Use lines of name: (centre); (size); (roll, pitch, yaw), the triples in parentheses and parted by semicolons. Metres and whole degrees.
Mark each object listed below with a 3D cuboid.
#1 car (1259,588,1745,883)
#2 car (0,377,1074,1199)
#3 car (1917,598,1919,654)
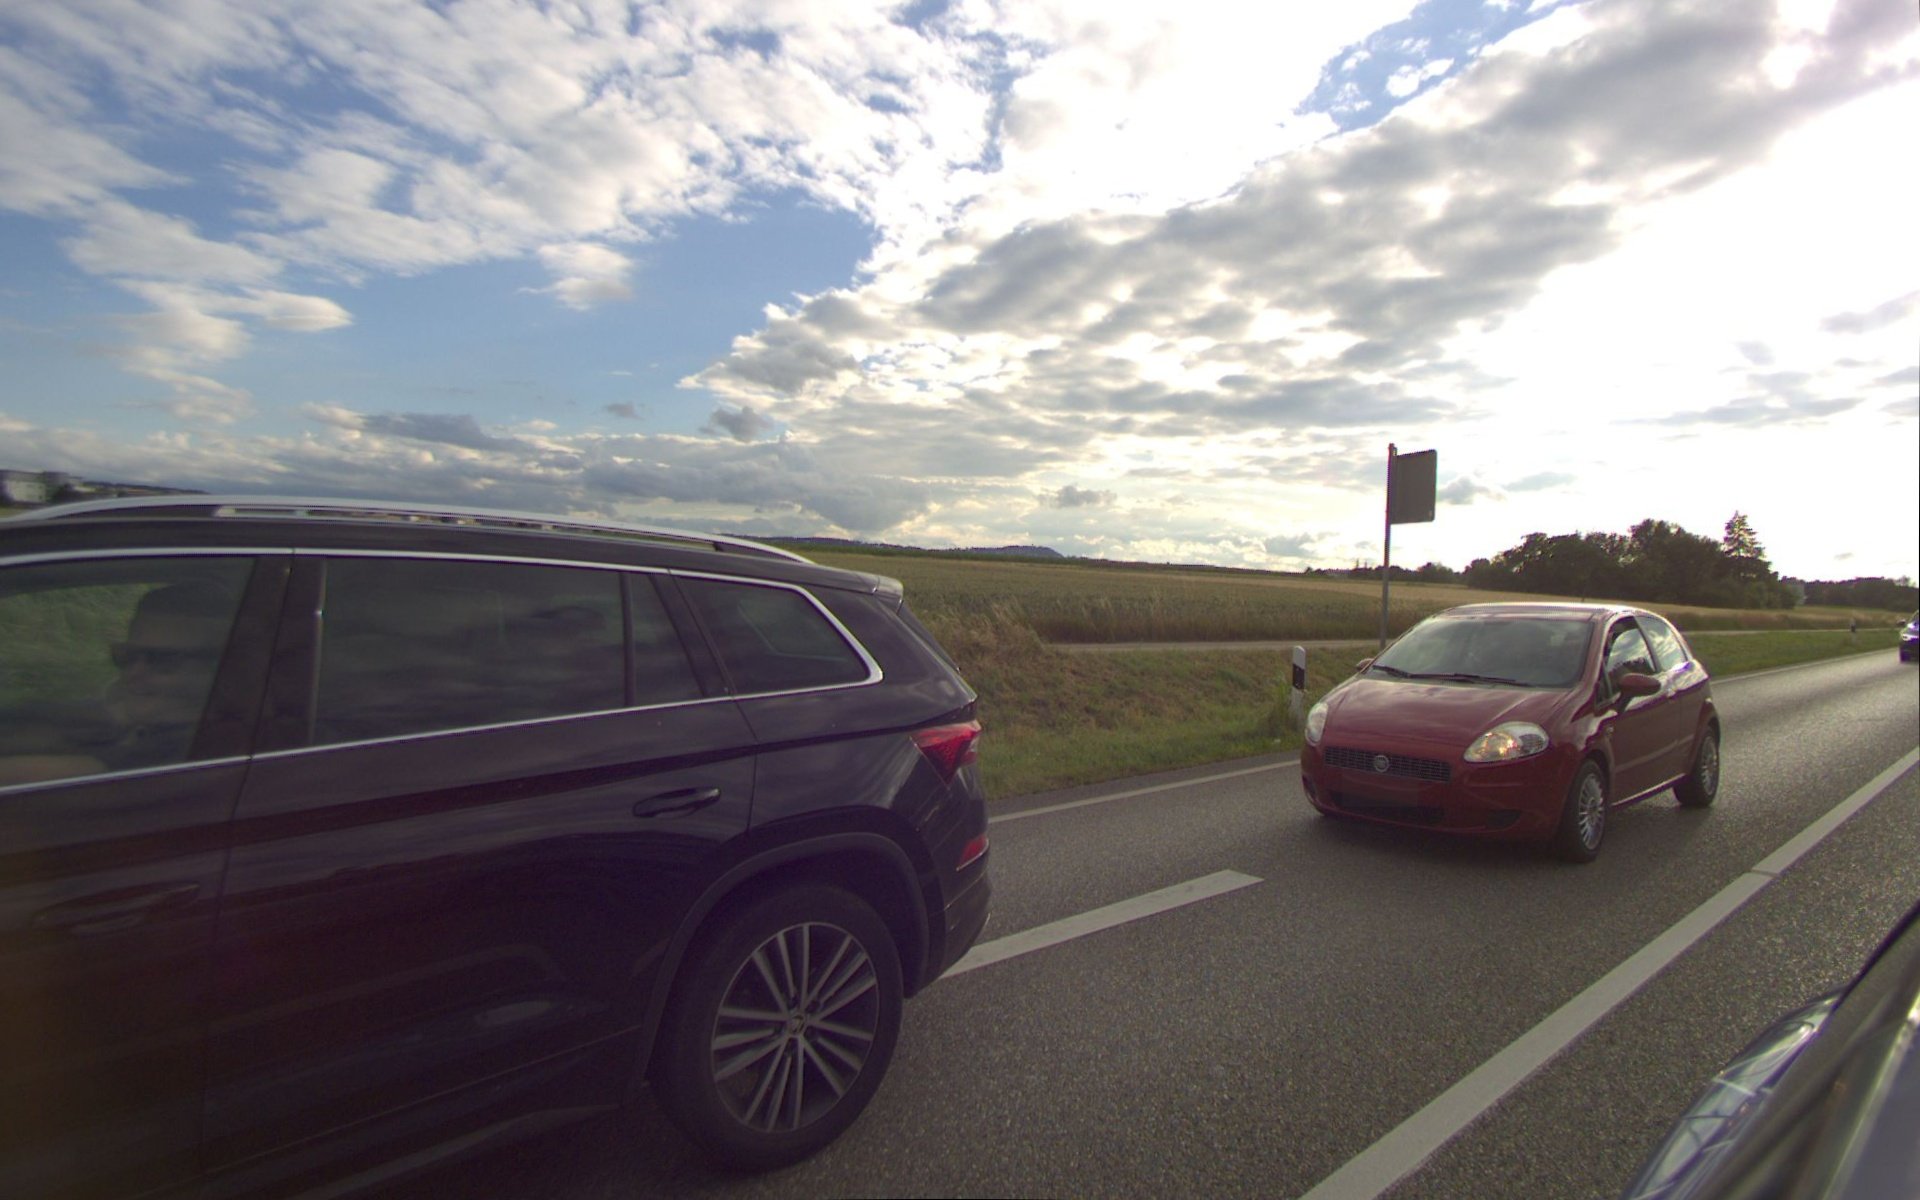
car: (3.899, 0.666, 7.015); (3.840, 1.475, 1.710); (-1, 0, -41)
car: (-1.934, 0.518, 2.390); (4.477, 1.730, 1.839); (-1, 0, -41)
car: (27.211, 0.673, 27.195); (3.962, 1.475, 1.797); (0, 0, -41)
